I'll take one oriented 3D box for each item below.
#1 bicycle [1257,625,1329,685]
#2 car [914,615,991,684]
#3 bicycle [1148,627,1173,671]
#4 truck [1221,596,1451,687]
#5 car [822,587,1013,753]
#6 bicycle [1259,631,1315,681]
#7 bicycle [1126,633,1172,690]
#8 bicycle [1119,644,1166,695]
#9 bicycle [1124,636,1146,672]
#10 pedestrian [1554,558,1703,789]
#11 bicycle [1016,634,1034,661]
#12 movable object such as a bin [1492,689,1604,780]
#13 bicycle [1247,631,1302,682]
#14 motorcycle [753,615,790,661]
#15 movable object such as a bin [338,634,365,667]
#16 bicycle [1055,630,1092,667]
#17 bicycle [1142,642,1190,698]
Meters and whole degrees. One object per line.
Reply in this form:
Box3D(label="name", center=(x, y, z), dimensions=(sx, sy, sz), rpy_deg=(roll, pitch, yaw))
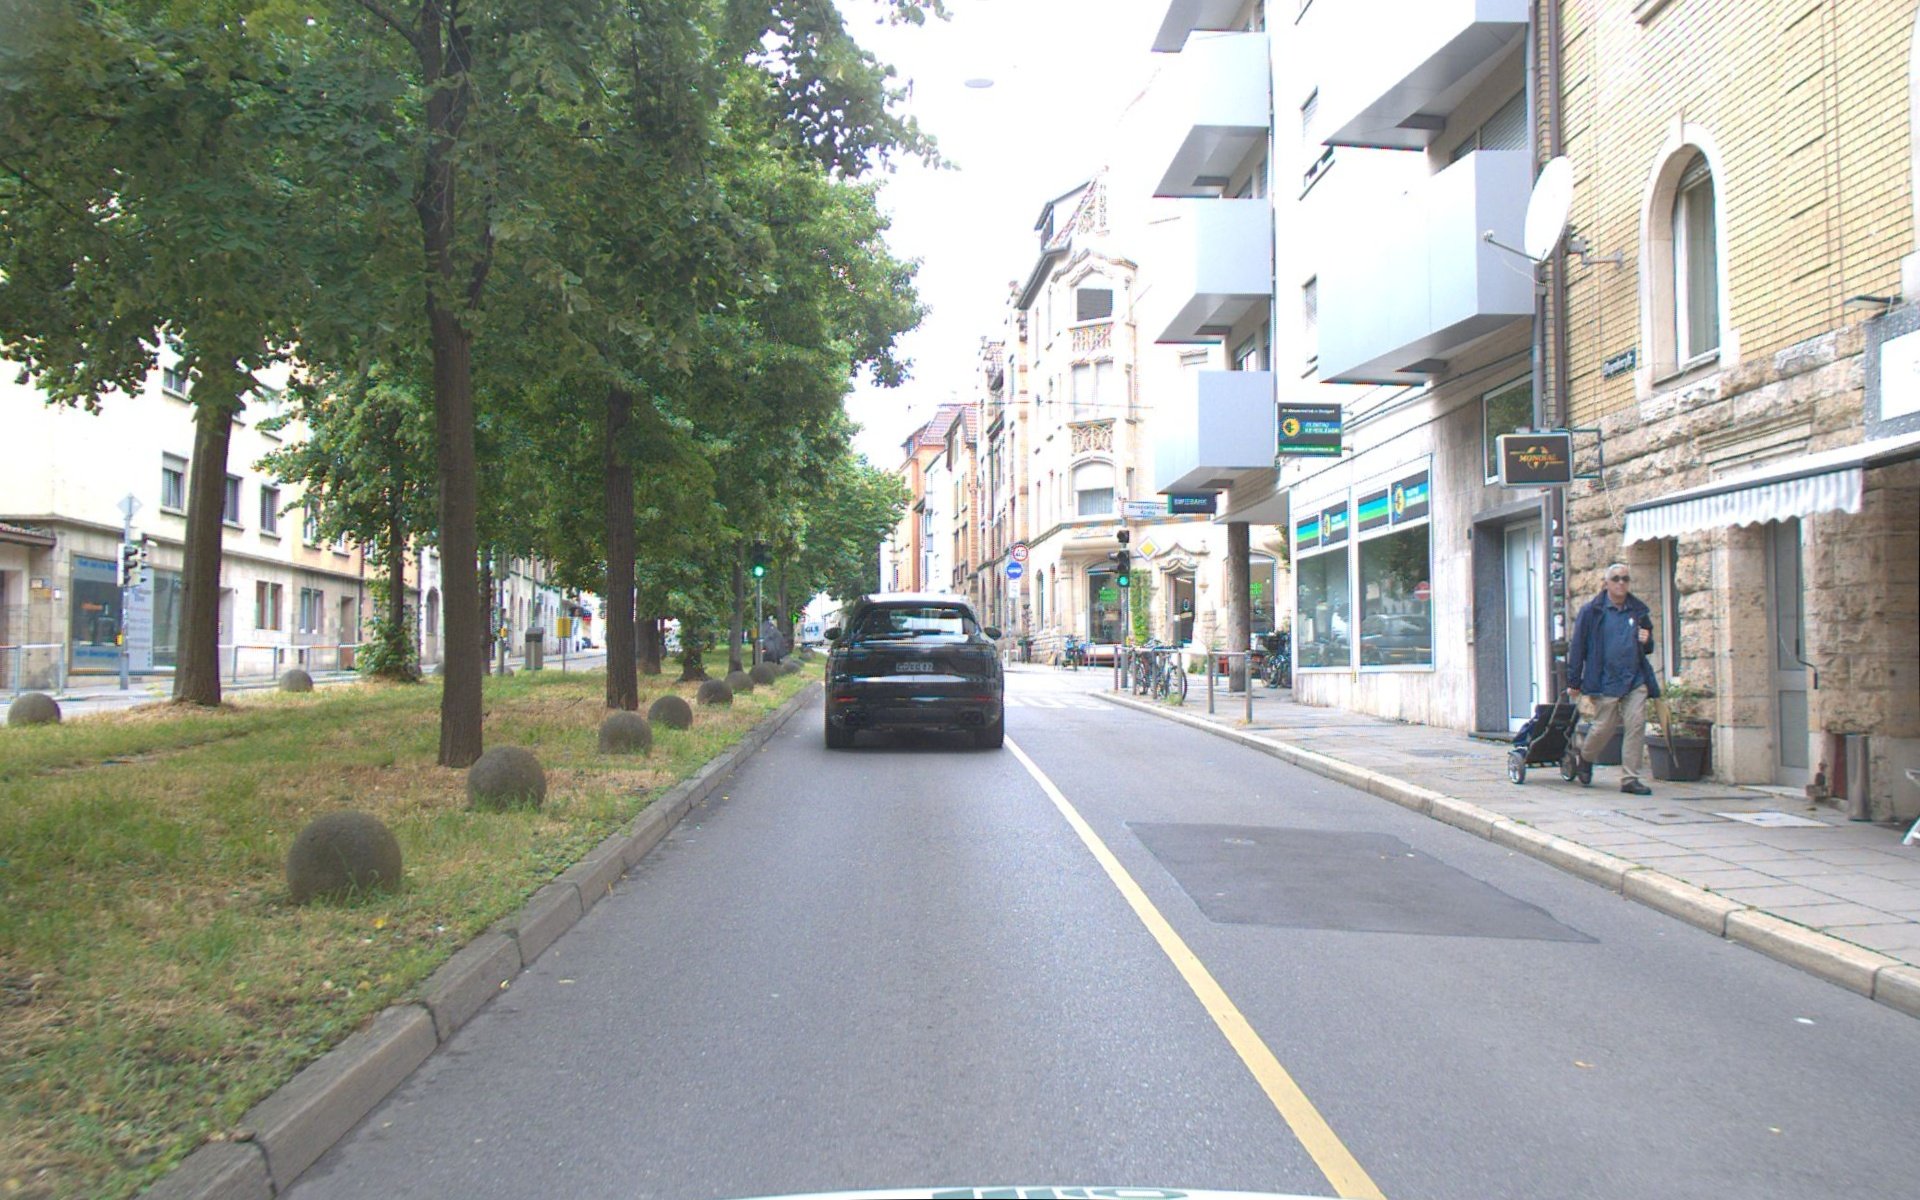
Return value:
Box3D(label="bicycle", center=(6.845, 1.125, 34.024), dimensions=(0.315, 1.220, 1.740), rpy_deg=(2, -2, -34))
Box3D(label="car", center=(-0.203, 1.217, 39.376), dimensions=(1.727, 1.491, 3.590), rpy_deg=(0, -4, -1))
Box3D(label="bicycle", center=(6.327, 1.539, 52.137), dimensions=(0.438, 1.181, 1.833), rpy_deg=(-1, 4, -4))
Box3D(label="truck", center=(9.979, 1.095, 44.073), dimensions=(5.462, 2.170, 2.374), rpy_deg=(2, -1, -13))
Box3D(label="car", center=(-0.493, 0.731, 18.956), dimensions=(1.953, 1.695, 3.998), rpy_deg=(0, -1, -2))
Box3D(label="bicycle", center=(7.003, 1.194, 35.475), dimensions=(0.313, 1.061, 1.750), rpy_deg=(1, -2, -20))
Box3D(label="bicycle", center=(3.657, 1.187, 32.077), dimensions=(0.281, 1.073, 1.754), rpy_deg=(1, -2, -15))
Box3D(label="bicycle", center=(3.490, 1.322, 31.749), dimensions=(0.281, 0.948, 1.754), rpy_deg=(1, -2, -15))
Box3D(label="bicycle", center=(5.540, 1.702, 52.465), dimensions=(0.342, 1.077, 1.832), rpy_deg=(3, -1, -4))
Box3D(label="pedestrian", center=(5.223, 0.564, 12.979), dimensions=(0.736, 1.722, 0.858), rpy_deg=(-2, -2, -1))
Box3D(label="bicycle", center=(2.551, 1.874, 65.243), dimensions=(0.438, 1.055, 2.246), rpy_deg=(-1, -2, -4))
Box3D(label="movable object such as a bin", center=(4.896, 1.112, 13.811), dimensions=(0.595, 0.680, 0.858), rpy_deg=(-2, -2, -1))
Box3D(label="bicycle", center=(6.706, 1.205, 35.357), dimensions=(0.313, 1.061, 1.750), rpy_deg=(1, -2, -20))
Box3D(label="motorcycle", center=(-6.209, 1.257, 54.582), dimensions=(0.999, 1.472, 2.245), rpy_deg=(-2, -1, -3))
Box3D(label="movable object such as a bin", center=(-20.359, 1.697, 55.372), dimensions=(0.678, 1.078, 0.689), rpy_deg=(1, -2, -8))
Box3D(label="bicycle", center=(3.700, 1.585, 54.114), dimensions=(0.861, 1.149, 2.977), rpy_deg=(0, -1, -3))
Box3D(label="bicycle", center=(3.646, 1.227, 29.334), dimensions=(0.557, 0.948, 1.774), rpy_deg=(0, -2, -2))
